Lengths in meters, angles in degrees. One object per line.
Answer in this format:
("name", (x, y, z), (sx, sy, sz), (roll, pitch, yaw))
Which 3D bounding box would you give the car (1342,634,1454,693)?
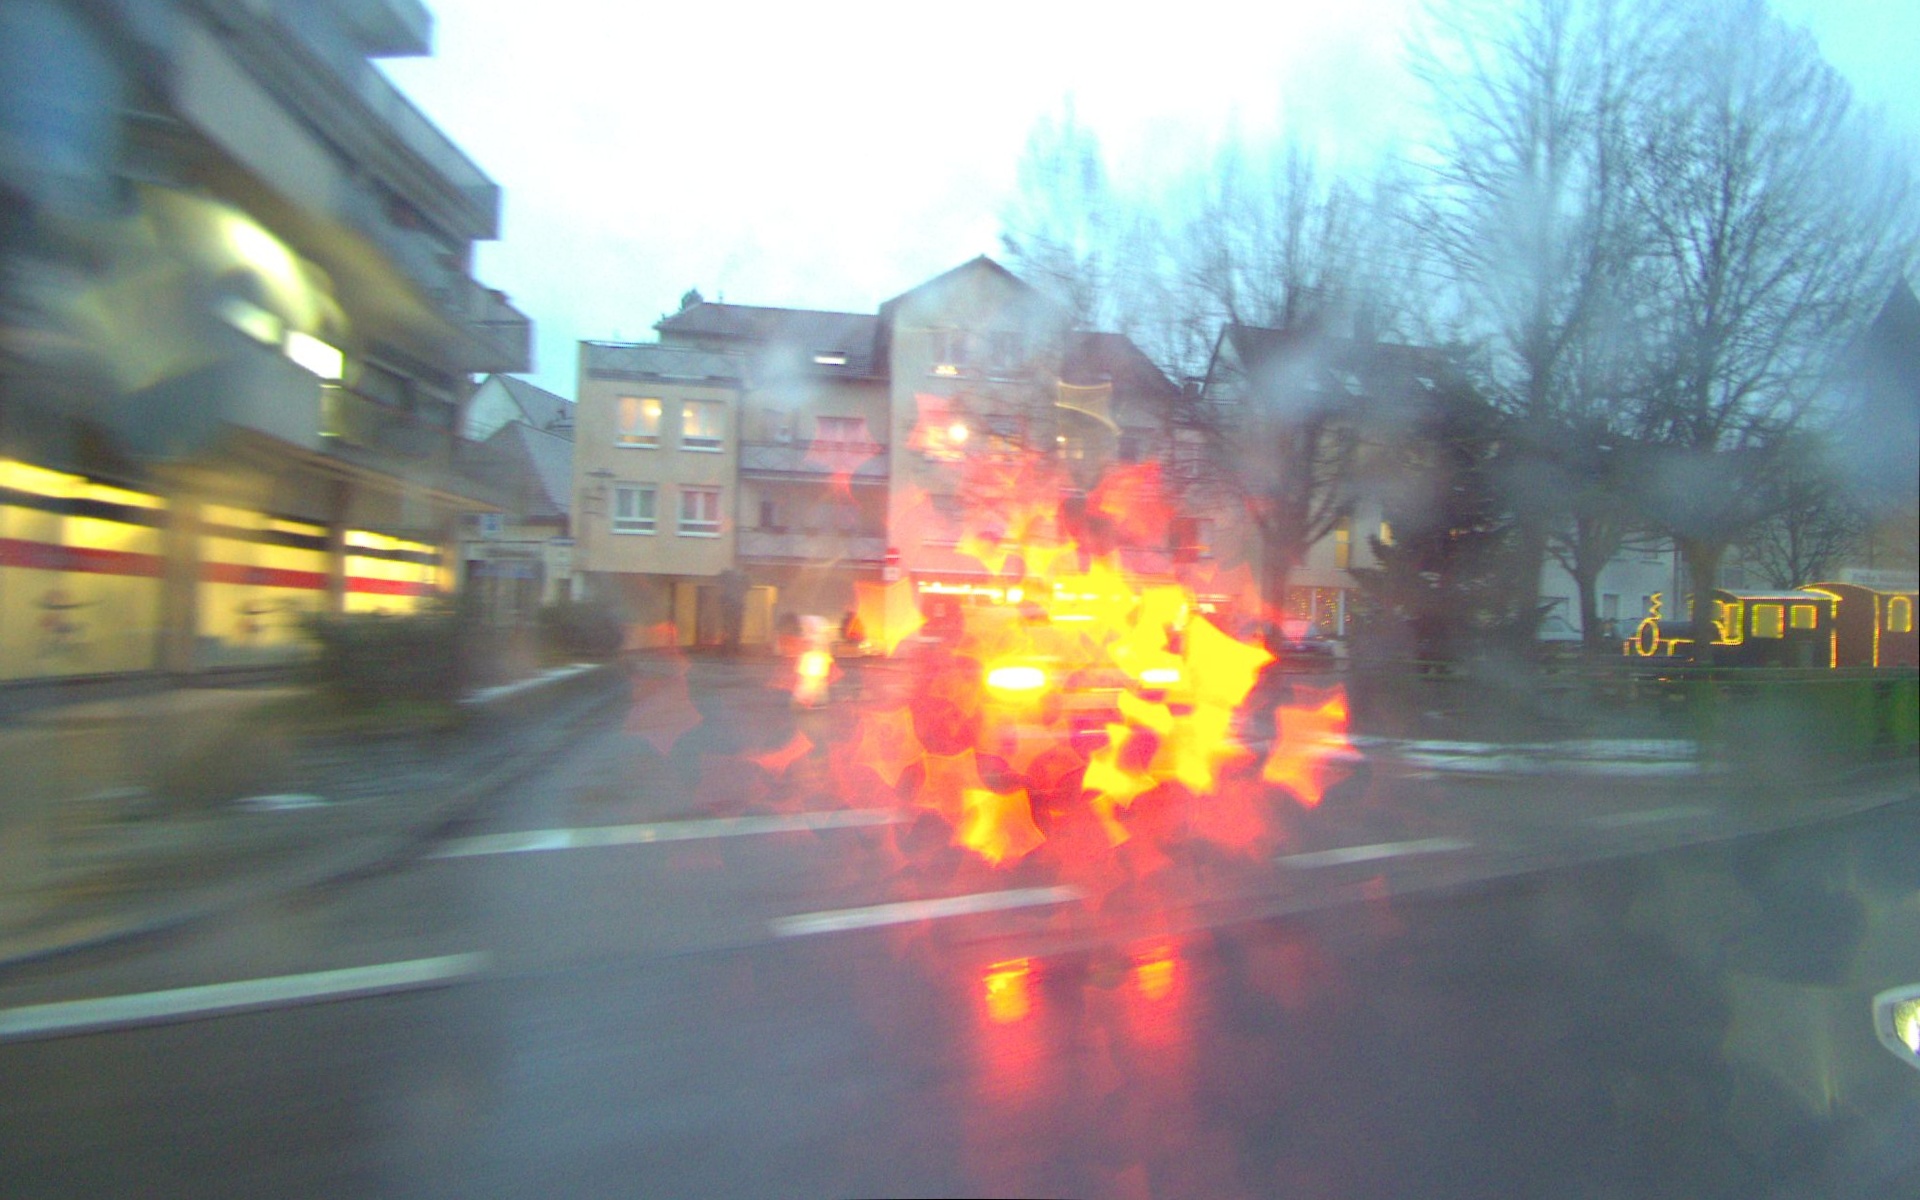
("car", (11.526, 1.640, 26.668), (1.582, 1.346, 3.327), (1, 0, 1))

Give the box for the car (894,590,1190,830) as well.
("car", (0.453, 0.717, 8.175), (1.476, 1.527, 3.303), (1, 0, -12))

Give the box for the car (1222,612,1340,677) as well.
("car", (8.257, 1.104, 26.223), (1.884, 1.528, 4.001), (1, 0, 1))

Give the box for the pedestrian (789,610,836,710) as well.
("pedestrian", (-2.065, 0.827, 14.033), (0.558, 1.357, 0.619), (1, 0, -16))
